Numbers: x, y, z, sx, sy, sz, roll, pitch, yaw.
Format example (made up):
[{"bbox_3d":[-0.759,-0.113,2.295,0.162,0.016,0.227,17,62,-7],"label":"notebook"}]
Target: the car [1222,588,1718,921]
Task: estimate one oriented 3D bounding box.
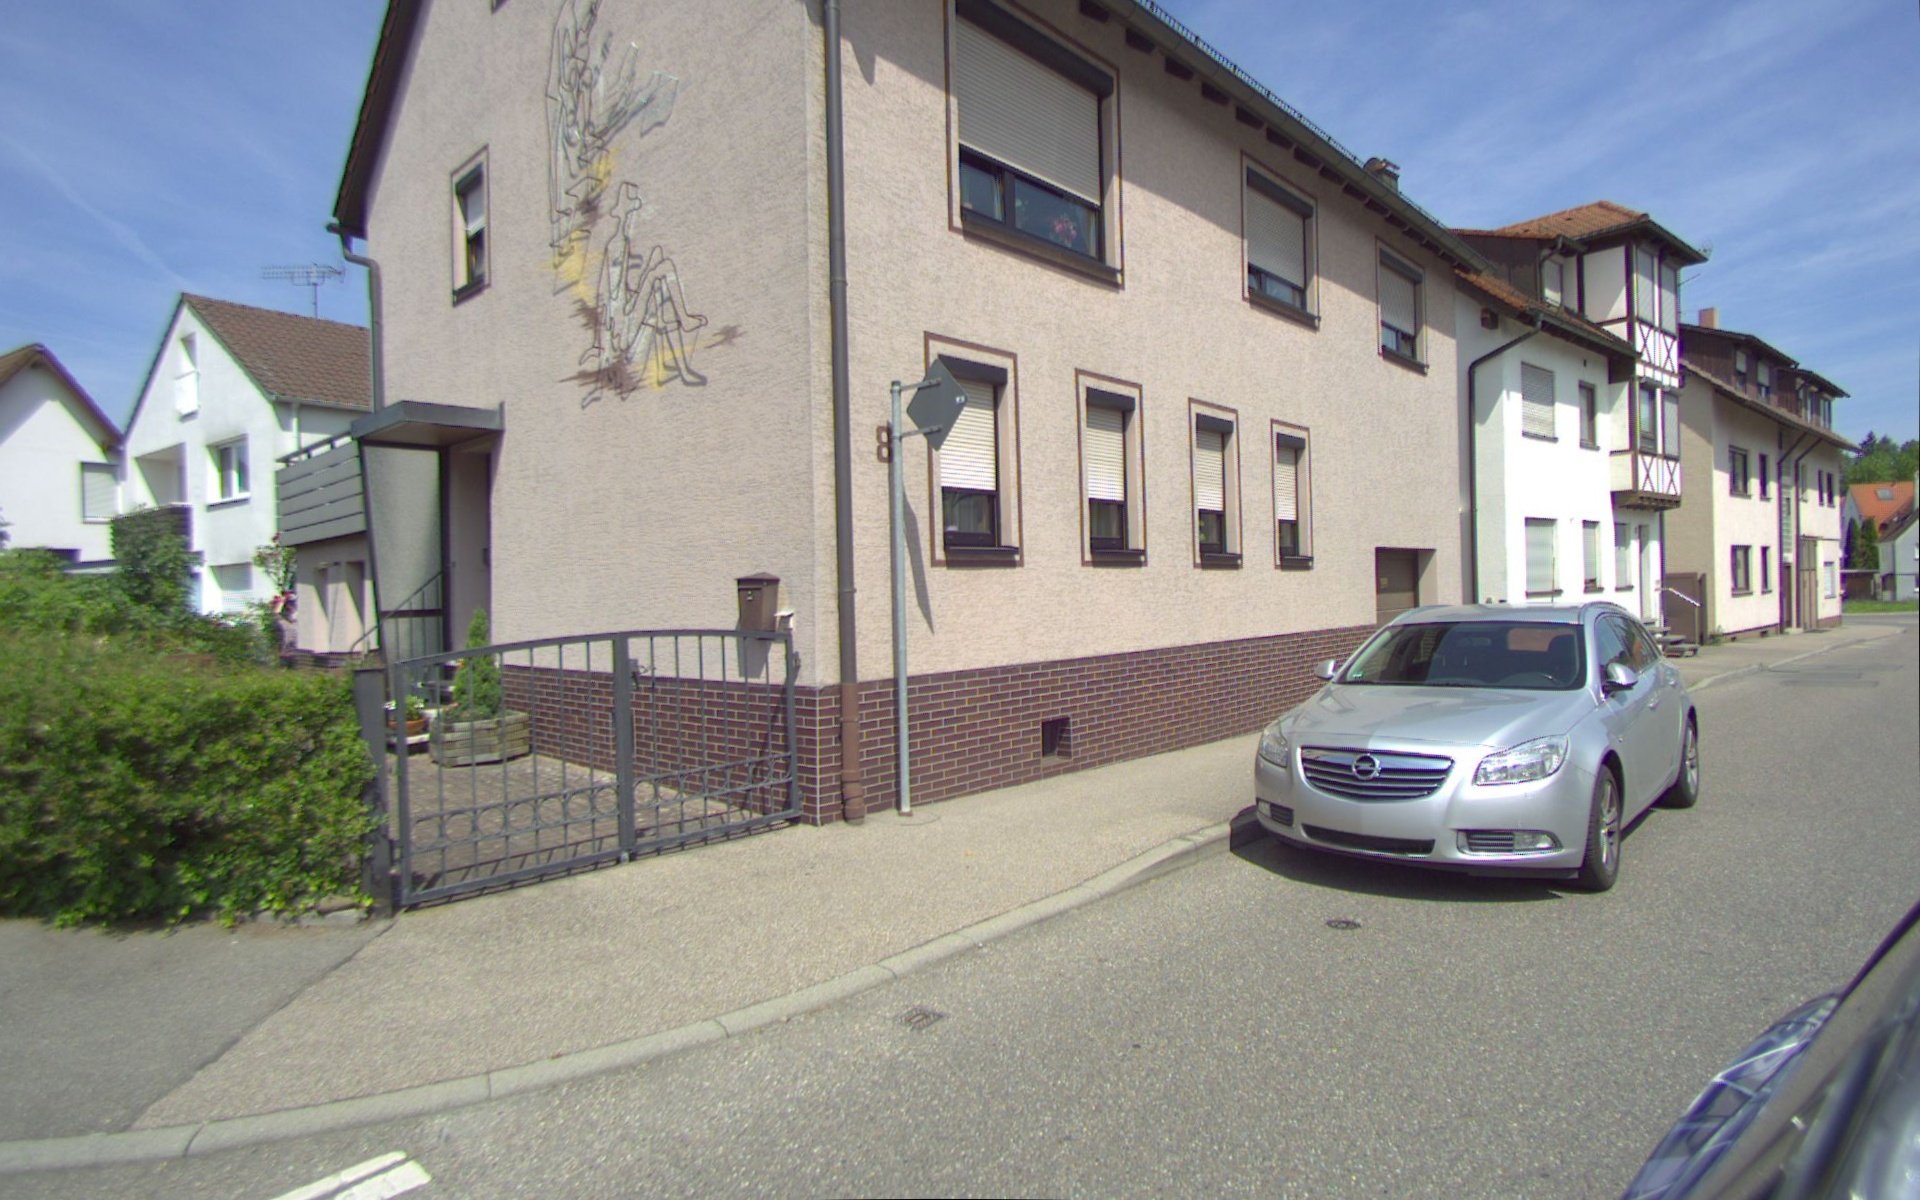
[{"bbox_3d":[3.586,0.694,6.656,1.784,1.460,4.270,-3,-2,42],"label":"car"}]
